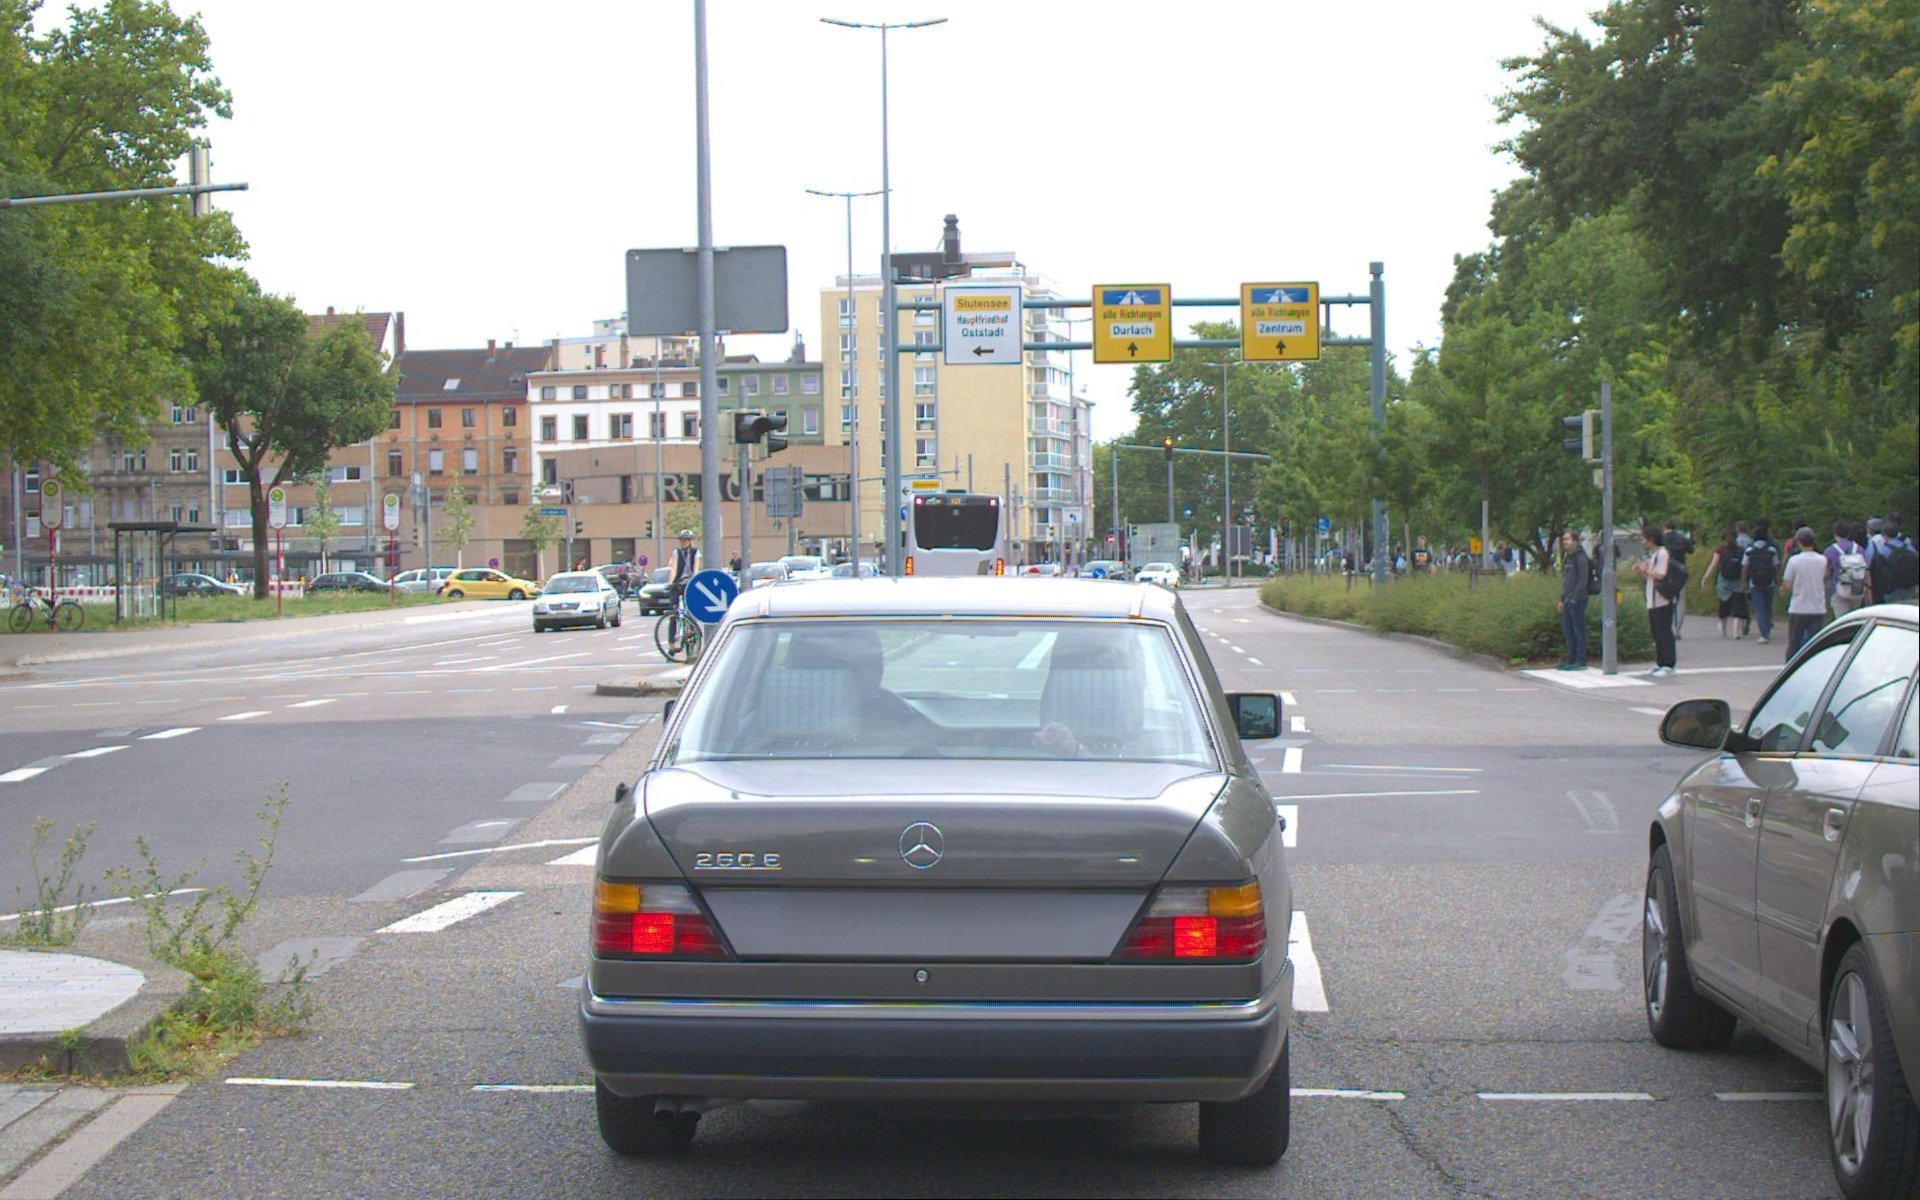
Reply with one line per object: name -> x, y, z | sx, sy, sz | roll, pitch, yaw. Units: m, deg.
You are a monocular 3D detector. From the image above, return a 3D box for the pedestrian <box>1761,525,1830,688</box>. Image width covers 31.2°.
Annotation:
pedestrian -> 8.760, 0.062, 36.055 | 0.545, 1.681, 0.637 | -1, 0, 0

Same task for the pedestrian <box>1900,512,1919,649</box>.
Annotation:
pedestrian -> 12.181, -0.256, 42.929 | 0.656, 1.693, 0.780 | -1, 1, 0

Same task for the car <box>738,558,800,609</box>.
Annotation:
car -> -5.761, -0.513, 103.608 | 1.801, 1.484, 4.289 | -1, 1, -4

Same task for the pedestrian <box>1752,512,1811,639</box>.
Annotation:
pedestrian -> 11.889, -0.353, 49.751 | 0.656, 1.815, 0.812 | -1, 1, 3

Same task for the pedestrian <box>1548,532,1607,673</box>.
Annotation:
pedestrian -> 7.693, 0.029, 42.830 | 0.601, 1.729, 0.654 | -1, 0, 0

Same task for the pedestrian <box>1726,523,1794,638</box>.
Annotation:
pedestrian -> 11.269, -0.277, 48.447 | 0.775, 1.597, 0.812 | -1, 1, 3

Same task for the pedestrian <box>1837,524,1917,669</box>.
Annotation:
pedestrian -> 11.461, -0.054, 42.977 | 0.656, 1.760, 0.958 | -3, 1, 0

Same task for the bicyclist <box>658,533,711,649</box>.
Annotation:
bicyclist -> -3.765, -0.133, 46.996 | 0.572, 1.568, 0.699 | -1, 1, 6

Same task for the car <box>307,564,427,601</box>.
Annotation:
car -> -24.321, -0.726, 141.183 | 4.668, 1.470, 1.660 | 1, 1, -3

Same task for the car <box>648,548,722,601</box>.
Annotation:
car -> -8.519, -0.805, 106.707 | 1.897, 1.610, 4.744 | -1, 1, 0

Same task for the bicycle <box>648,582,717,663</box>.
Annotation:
bicycle -> -3.771, 0.293, 46.805 | 0.573, 1.052, 1.926 | -1, 1, 6

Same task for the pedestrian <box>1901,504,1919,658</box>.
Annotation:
pedestrian -> 11.206, -0.226, 39.290 | 0.656, 1.739, 0.780 | -1, 1, 0

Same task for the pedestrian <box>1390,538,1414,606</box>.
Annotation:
pedestrian -> 13.078, -0.820, 101.696 | 0.614, 2.007, 0.597 | 0, 0, 1

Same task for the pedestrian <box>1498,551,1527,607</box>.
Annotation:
pedestrian -> 14.664, -0.566, 91.204 | 0.657, 1.465, 0.562 | -1, 0, 0

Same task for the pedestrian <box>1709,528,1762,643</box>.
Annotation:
pedestrian -> 11.751, -0.224, 52.114 | 0.619, 1.729, 0.814 | -1, 1, 3

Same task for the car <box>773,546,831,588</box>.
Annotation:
car -> -5.735, -1.198, 124.966 | 1.801, 1.506, 4.104 | -1, 0, 1

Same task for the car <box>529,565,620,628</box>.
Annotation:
car -> -9.501, -0.102, 84.943 | 1.761, 1.484, 4.546 | -1, 1, -1

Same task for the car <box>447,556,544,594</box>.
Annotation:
car -> -19.110, -1.021, 141.530 | 3.856, 1.512, 1.660 | 0, 1, -3

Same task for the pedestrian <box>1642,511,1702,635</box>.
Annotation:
pedestrian -> 10.589, -0.405, 51.132 | 0.693, 1.815, 0.954 | -1, 1, 3

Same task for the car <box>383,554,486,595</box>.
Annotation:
car -> -22.213, -1.065, 145.466 | 4.153, 1.644, 1.647 | -1, 1, -4

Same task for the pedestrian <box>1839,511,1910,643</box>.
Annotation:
pedestrian -> 11.813, -0.299, 44.420 | 0.656, 1.683, 0.842 | -1, 1, 0

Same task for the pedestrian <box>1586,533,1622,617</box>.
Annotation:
pedestrian -> 12.946, -0.506, 69.141 | 0.587, 1.677, 0.748 | -1, 1, 3

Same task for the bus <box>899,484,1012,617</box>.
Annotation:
bus -> -0.106, -1.319, 91.765 | 2.831, 3.379, 8.183 | -1, 1, 0

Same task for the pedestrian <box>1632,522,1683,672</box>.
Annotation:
pedestrian -> 8.142, -0.037, 40.145 | 0.454, 1.729, 0.637 | -1, 0, 0

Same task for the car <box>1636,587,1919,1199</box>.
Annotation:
car -> 2.911, 0.711, 9.027 | 1.724, 1.452, 3.735 | -1, 1, 3

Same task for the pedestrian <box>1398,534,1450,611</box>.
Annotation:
pedestrian -> 11.104, -0.653, 82.201 | 0.935, 1.824, 0.885 | -1, 1, 30

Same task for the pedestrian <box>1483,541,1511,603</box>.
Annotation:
pedestrian -> 14.797, -0.770, 94.766 | 0.647, 1.707, 0.561 | -1, 0, 17

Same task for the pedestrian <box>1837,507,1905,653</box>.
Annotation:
pedestrian -> 10.972, -0.243, 41.412 | 0.581, 1.739, 0.790 | -1, 1, 0

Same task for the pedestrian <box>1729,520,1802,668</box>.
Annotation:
pedestrian -> 9.650, -0.073, 41.200 | 0.656, 1.739, 0.780 | -1, 1, 0

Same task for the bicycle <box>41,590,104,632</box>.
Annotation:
bicycle -> -20.415, 0.247, 79.099 | 0.470, 0.915, 2.338 | -1, 1, 10

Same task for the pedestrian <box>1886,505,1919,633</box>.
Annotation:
pedestrian -> 12.694, -0.414, 45.395 | 0.656, 1.661, 0.971 | -1, 1, 0

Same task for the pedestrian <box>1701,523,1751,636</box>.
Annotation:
pedestrian -> 11.278, -0.305, 50.637 | 0.555, 1.649, 0.753 | -1, 1, 3

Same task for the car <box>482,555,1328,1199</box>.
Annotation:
car -> -0.061, 0.635, 9.317 | 1.761, 1.484, 4.171 | -1, 1, 2

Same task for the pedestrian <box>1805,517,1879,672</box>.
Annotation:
pedestrian -> 10.083, -0.070, 39.325 | 0.624, 1.739, 0.780 | -1, 1, 0

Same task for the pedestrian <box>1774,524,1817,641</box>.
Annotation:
pedestrian -> 12.710, -0.270, 52.305 | 0.484, 1.757, 0.664 | -1, 1, 3
